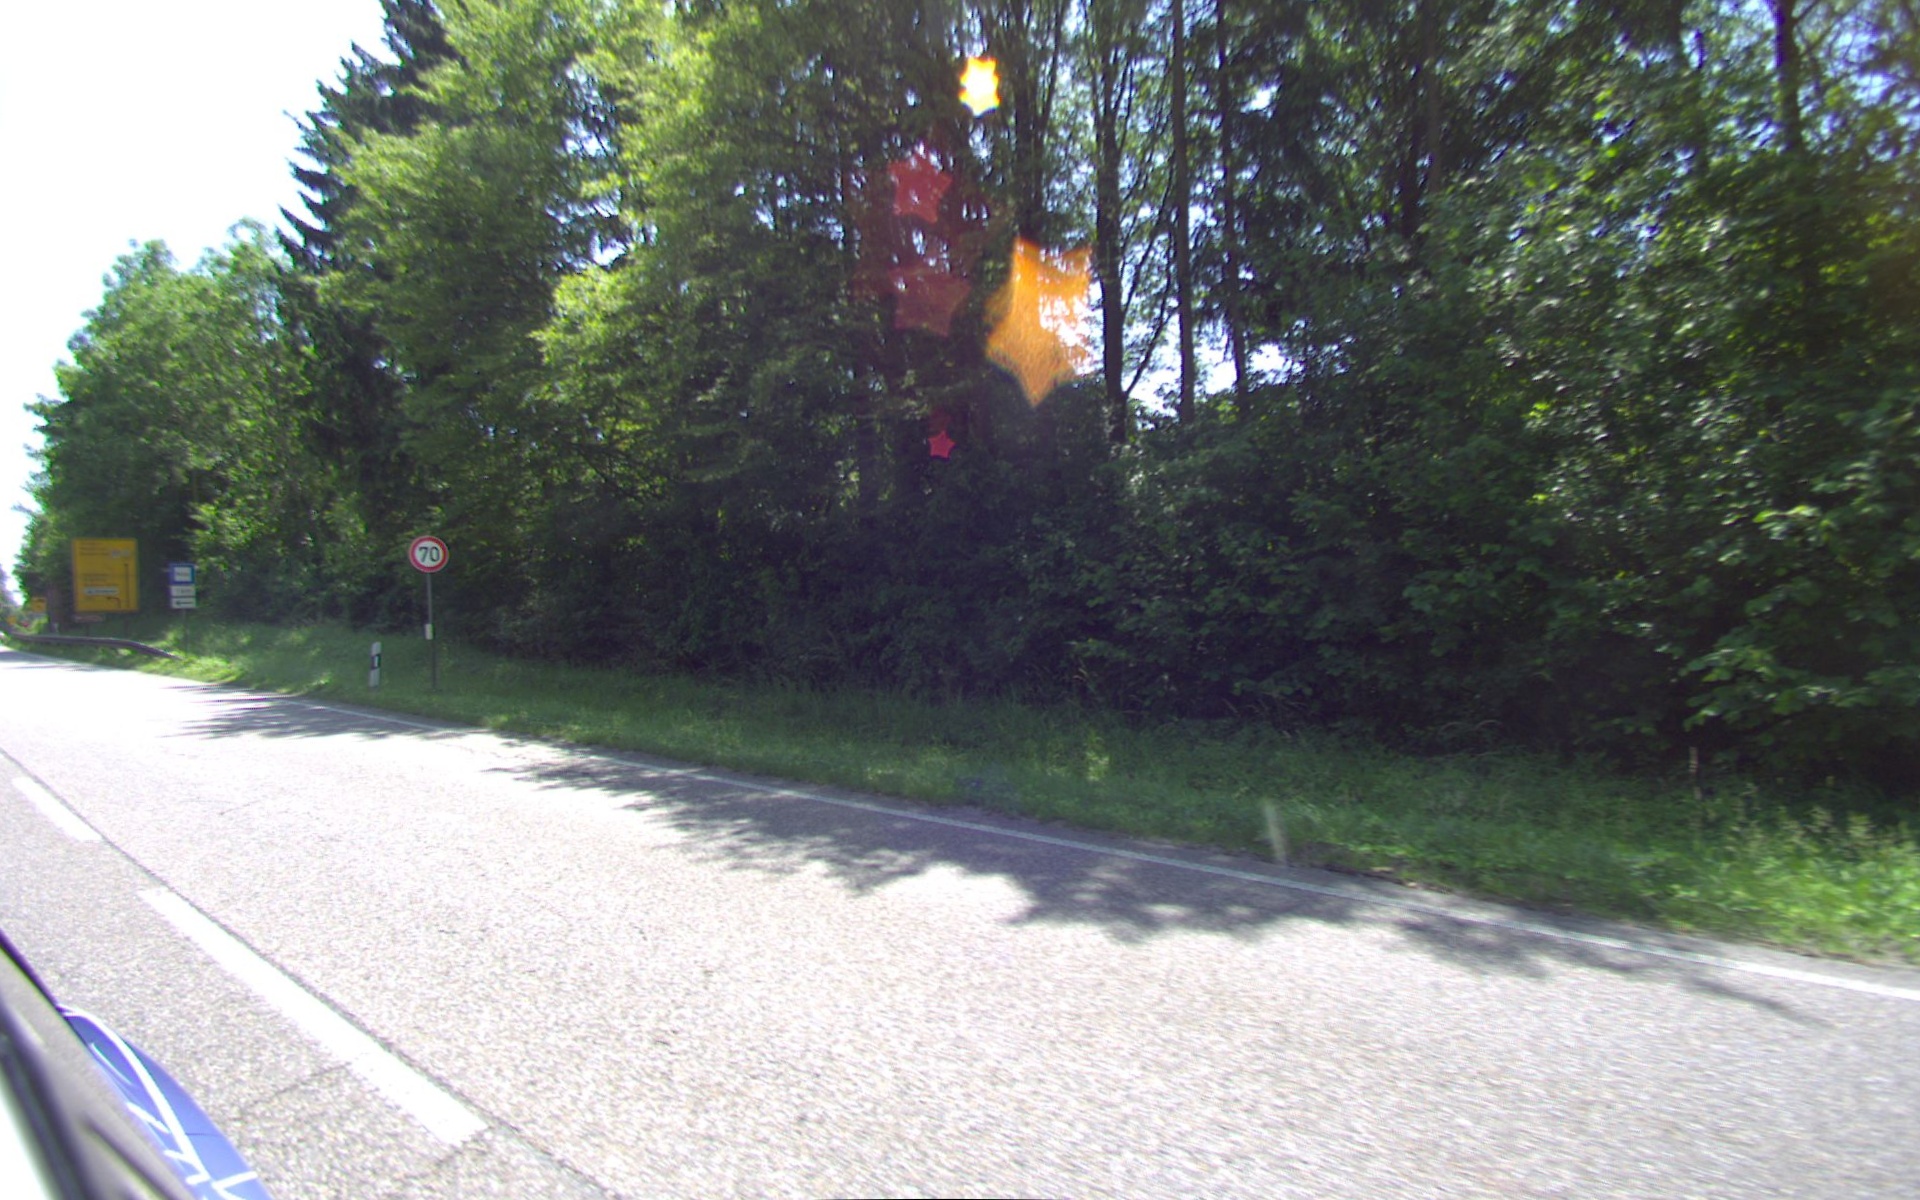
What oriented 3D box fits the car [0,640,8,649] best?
[{"bbox_3d":[-150.099,6.966,158.207,1.785,1.446,3.873,1,-2,-45],"label":"car"}]
